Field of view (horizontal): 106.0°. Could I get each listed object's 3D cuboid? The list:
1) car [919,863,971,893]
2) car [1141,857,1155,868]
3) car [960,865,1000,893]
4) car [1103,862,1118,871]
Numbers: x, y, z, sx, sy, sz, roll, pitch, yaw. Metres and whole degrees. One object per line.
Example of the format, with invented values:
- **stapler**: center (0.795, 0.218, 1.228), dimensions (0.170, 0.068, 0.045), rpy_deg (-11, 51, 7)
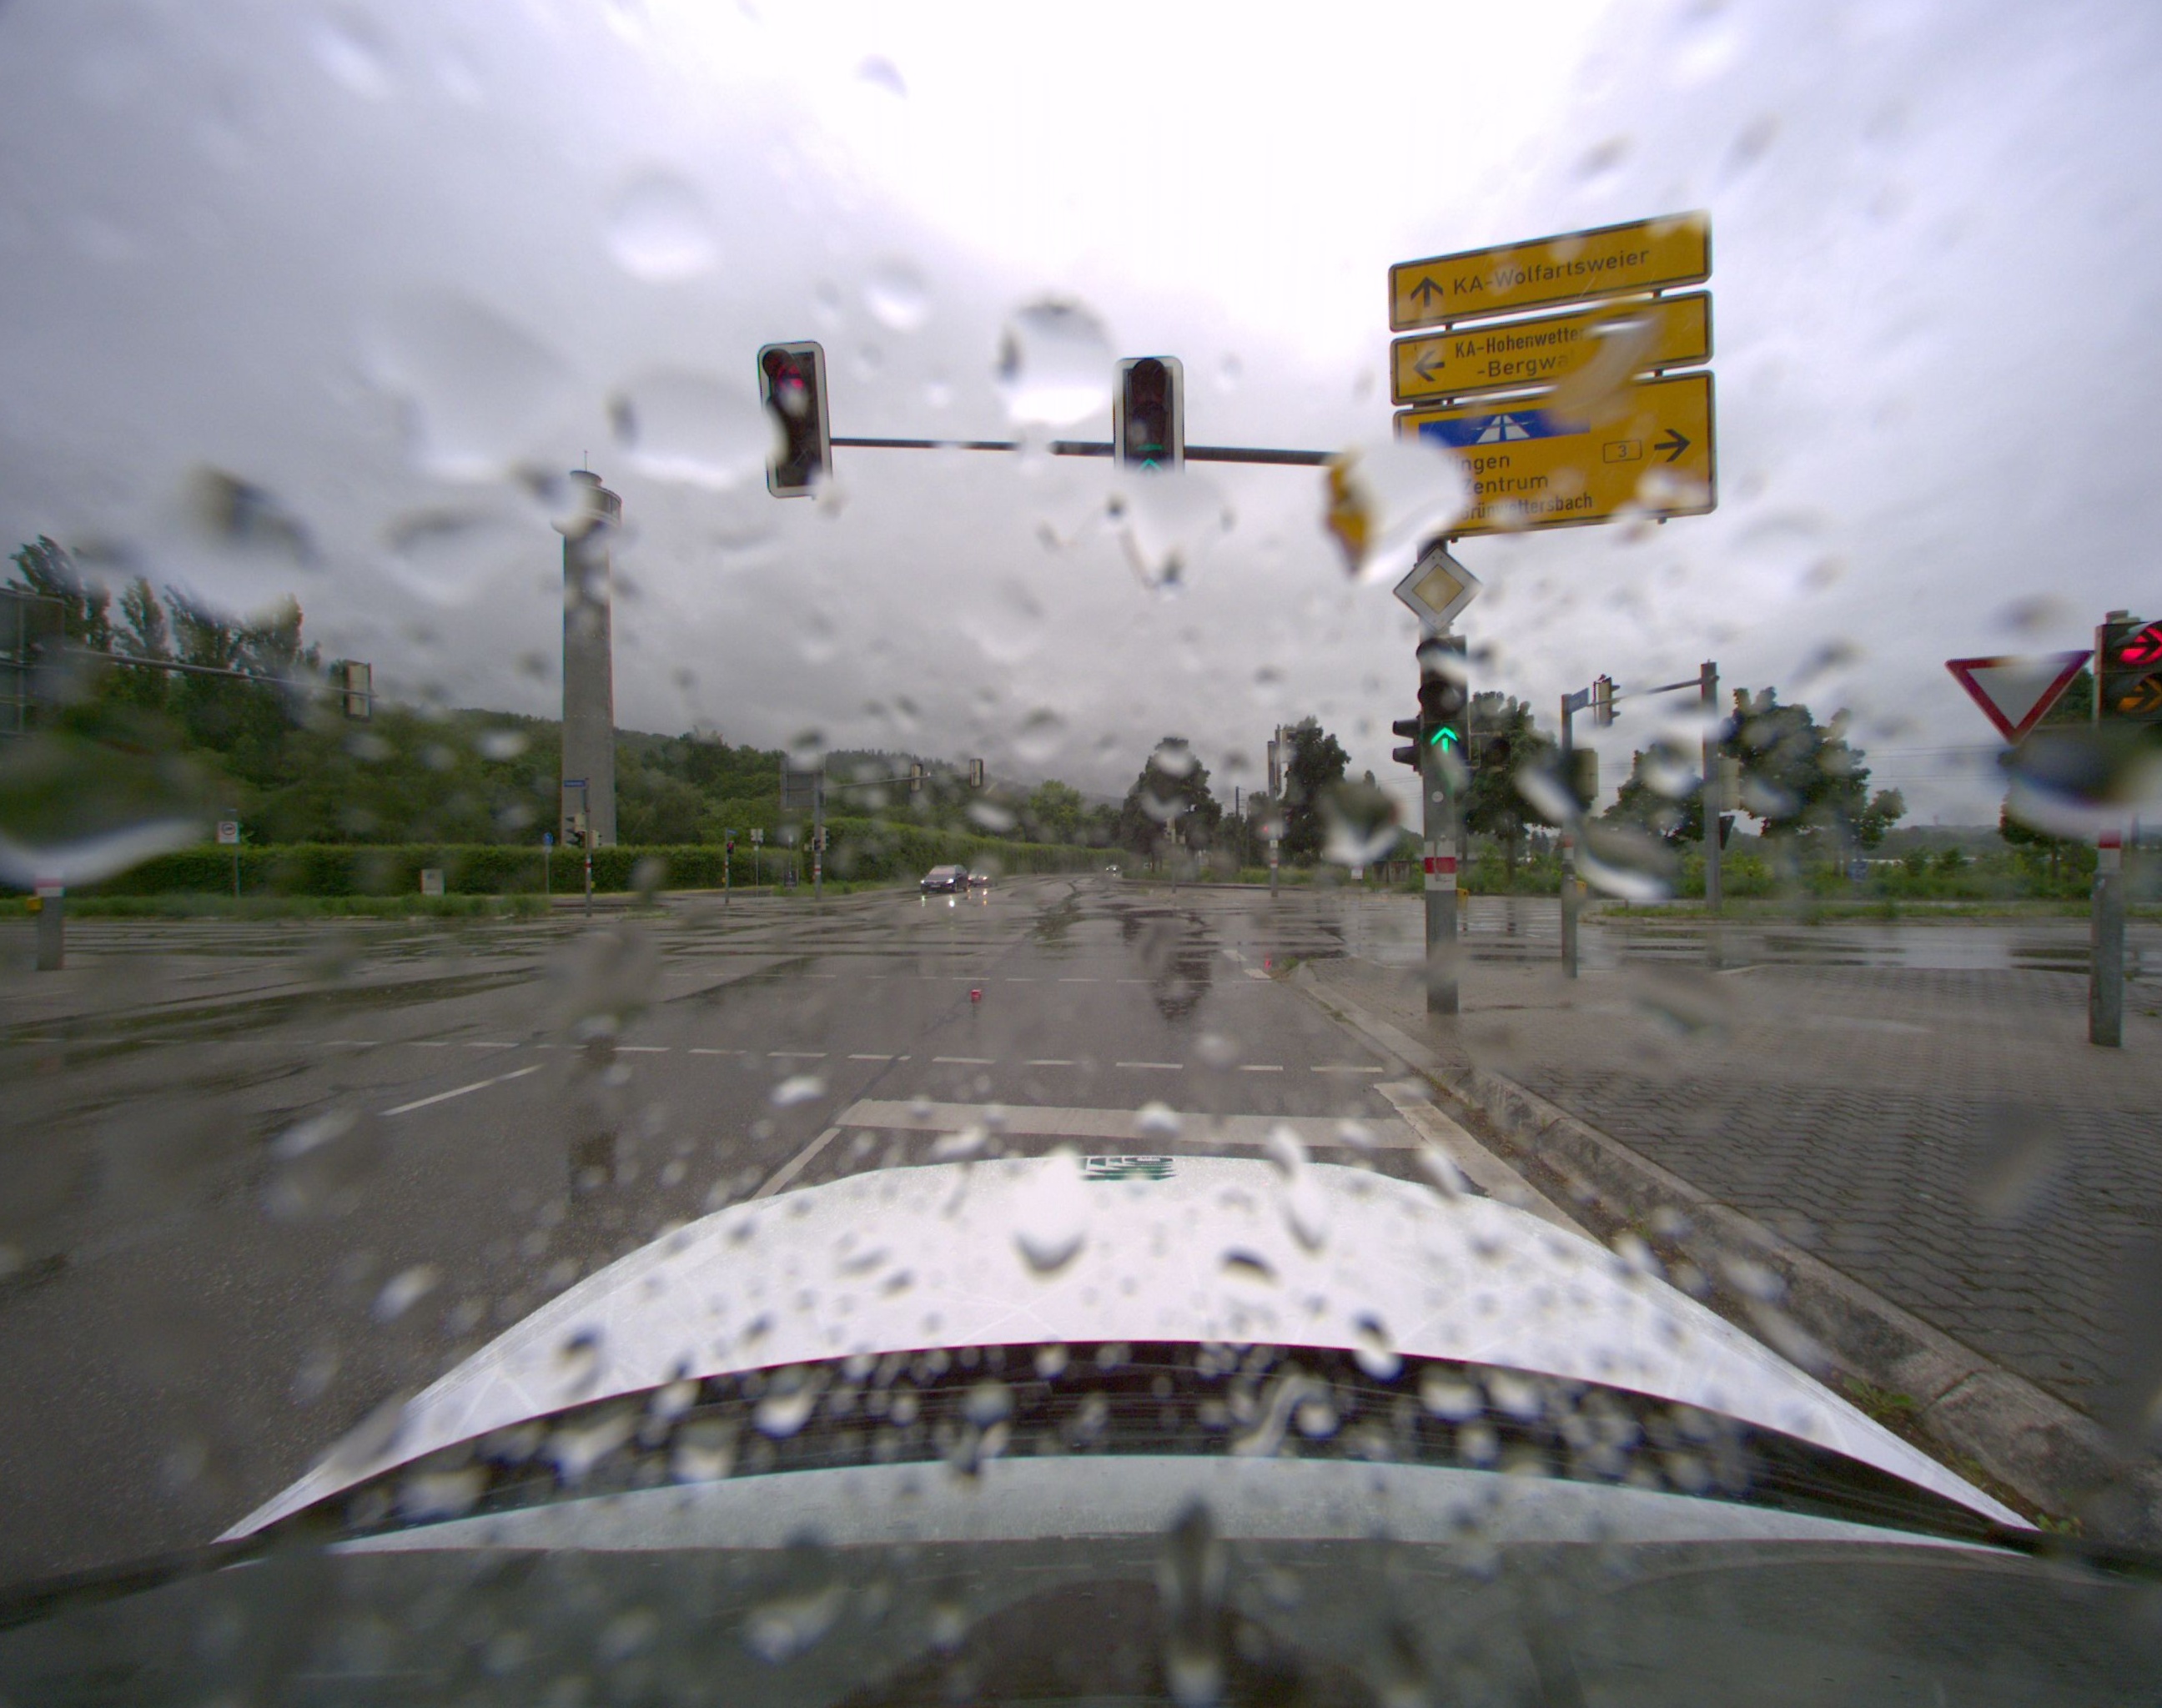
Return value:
- **car**: center (-7.235, 1.235, 43.794), dimensions (1.701, 1.466, 4.458), rpy_deg (-1, 0, 4)
- **car**: center (12.955, 1.656, 156.886), dimensions (1.939, 1.904, 4.137), rpy_deg (-1, 0, 15)
- **car**: center (-6.637, 1.613, 54.082), dimensions (2.029, 1.708, 4.067), rpy_deg (-1, 0, 2)
- **car**: center (5.205, 2.153, 143.641), dimensions (1.772, 1.505, 4.075), rpy_deg (-1, 0, 13)
